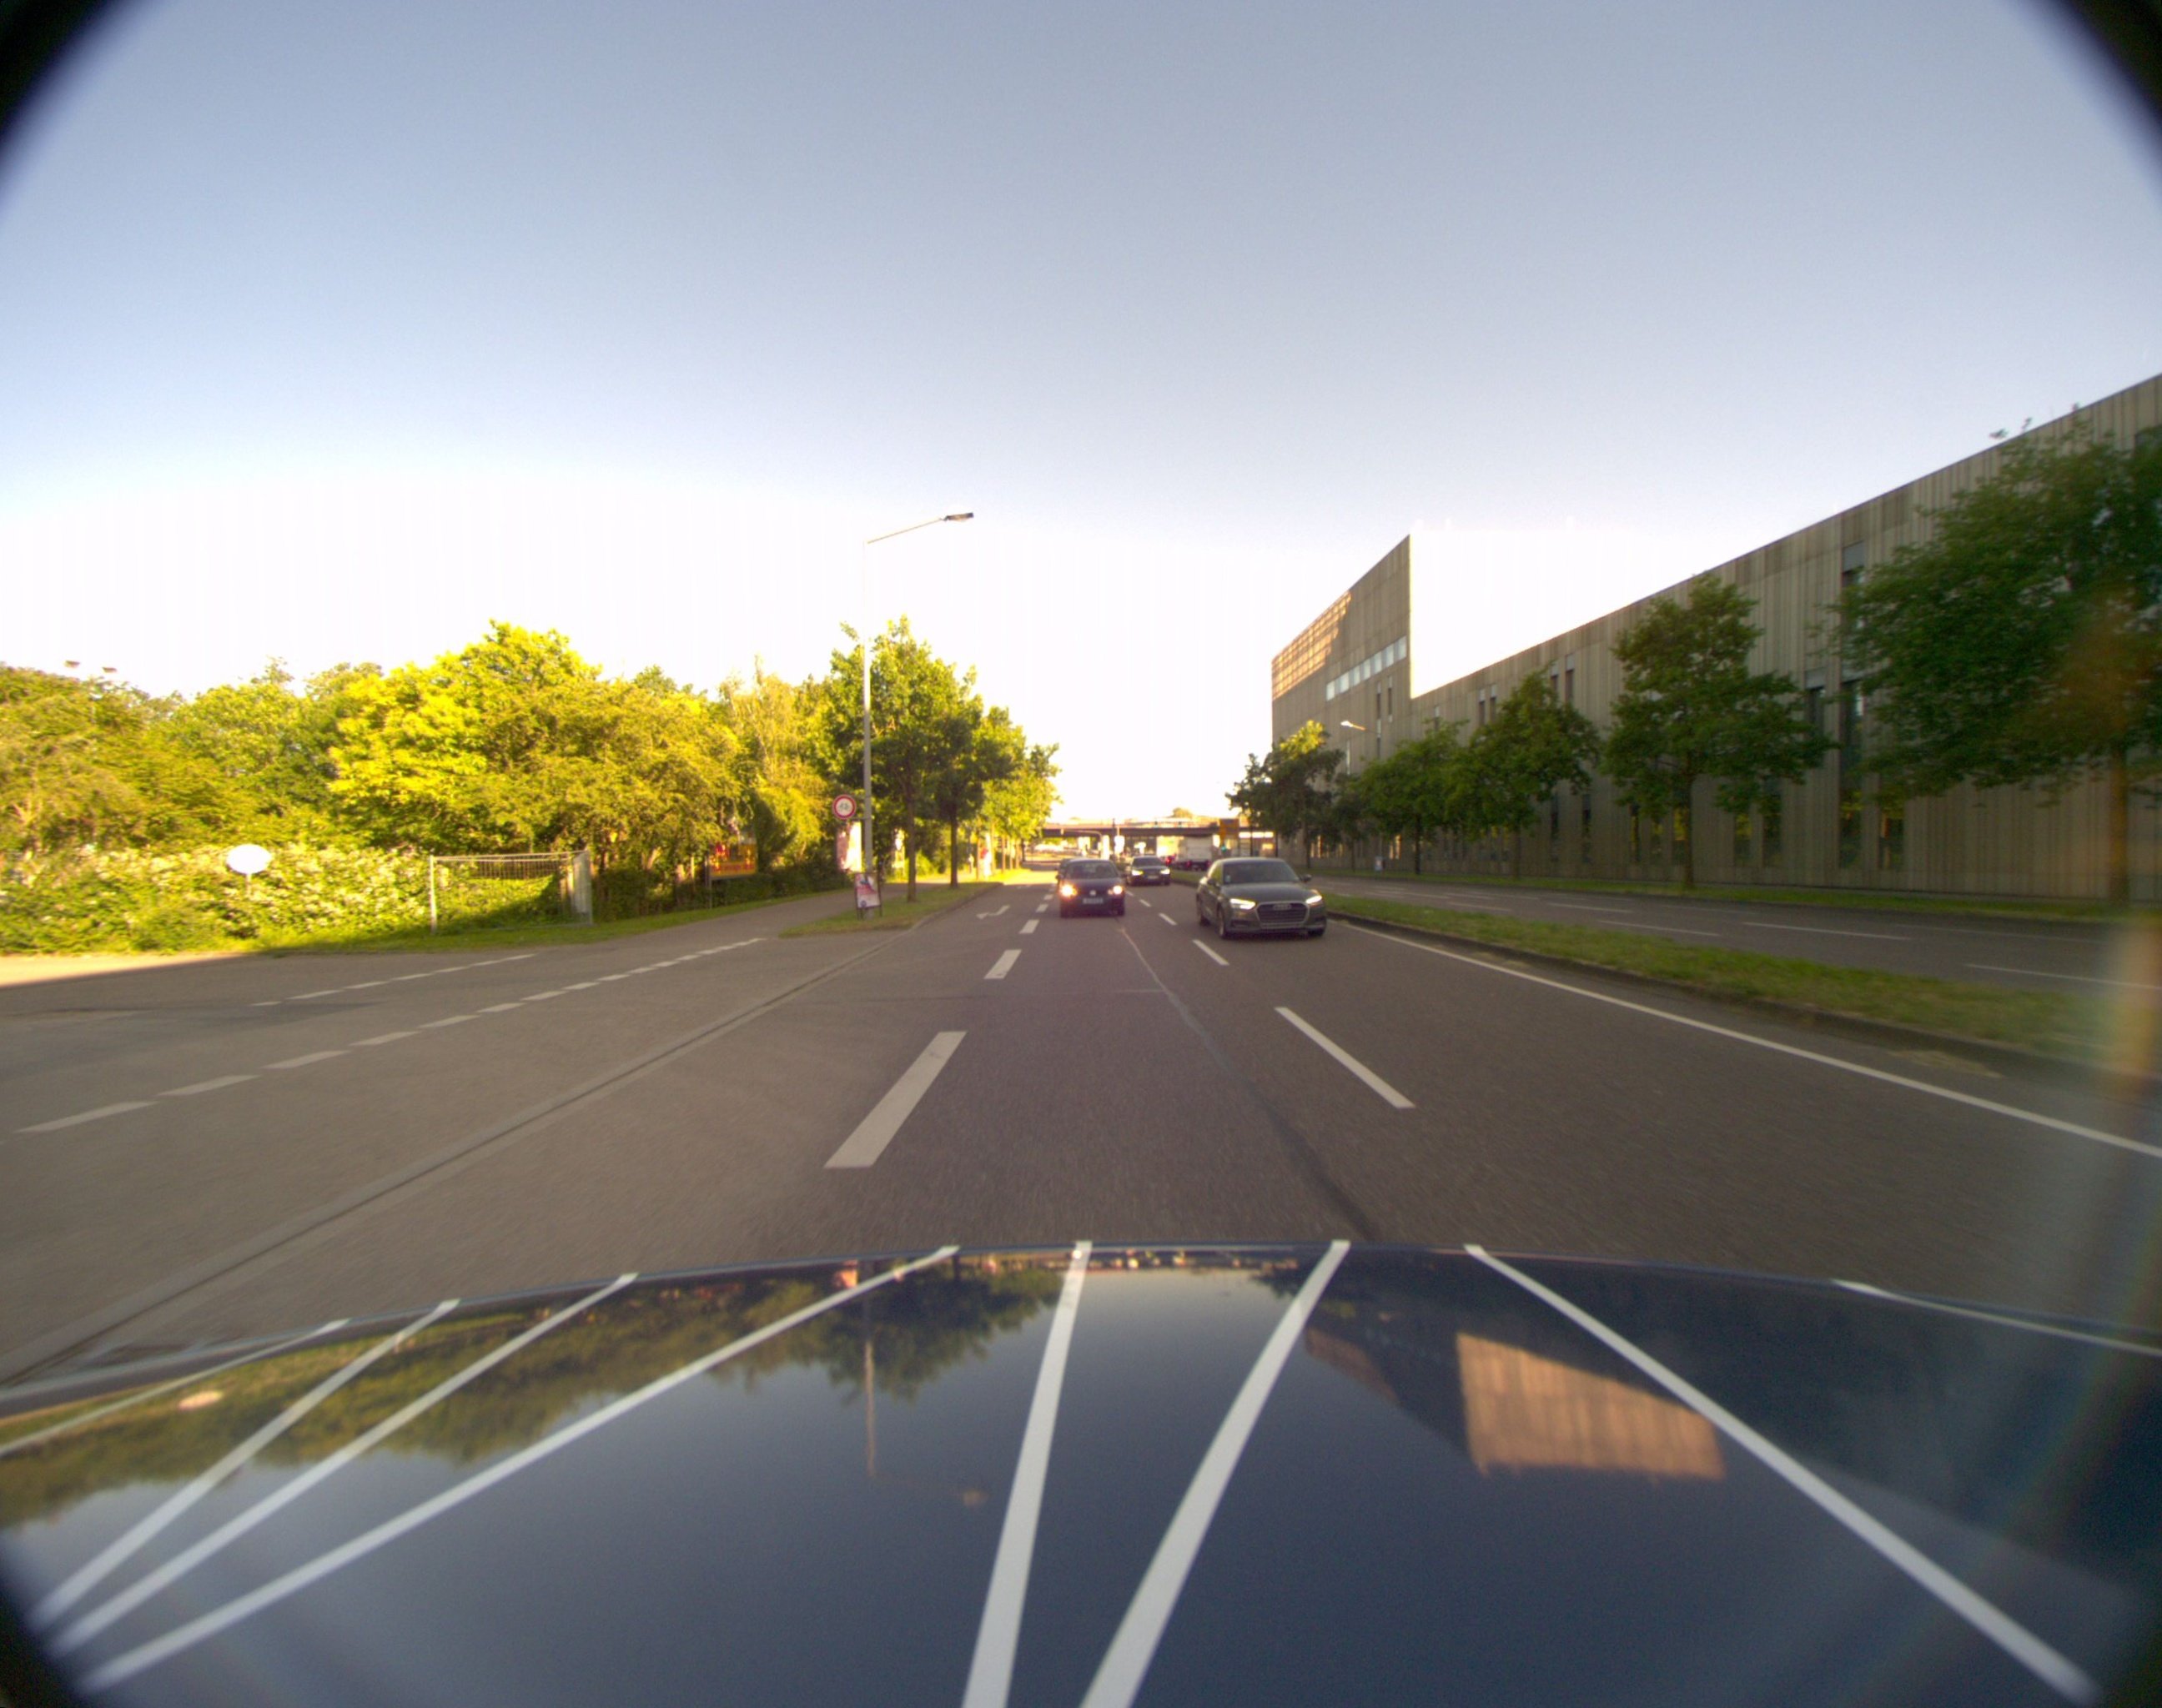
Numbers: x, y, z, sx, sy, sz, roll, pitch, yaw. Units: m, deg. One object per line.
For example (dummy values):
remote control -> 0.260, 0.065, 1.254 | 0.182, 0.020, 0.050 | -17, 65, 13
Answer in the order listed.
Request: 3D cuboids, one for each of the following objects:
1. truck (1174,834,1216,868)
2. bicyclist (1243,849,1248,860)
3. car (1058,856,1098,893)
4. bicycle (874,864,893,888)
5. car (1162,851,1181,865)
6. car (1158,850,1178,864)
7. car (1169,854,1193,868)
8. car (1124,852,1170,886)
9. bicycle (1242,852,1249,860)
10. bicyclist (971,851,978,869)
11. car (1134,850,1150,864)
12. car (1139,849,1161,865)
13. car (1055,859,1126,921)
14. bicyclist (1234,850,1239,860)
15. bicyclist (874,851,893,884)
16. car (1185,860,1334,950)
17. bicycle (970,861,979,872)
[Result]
truck -> 10.475, -0.300, 70.372 | 2.693, 2.943, 7.113 | 1, 0, -1
bicyclist -> 24.074, 0.086, 111.302 | 0.508, 1.498, 0.644 | 0, 1, -2
car -> -0.182, 0.873, 34.057 | 1.702, 1.478, 3.945 | -1, 0, -2
bicycle -> -9.453, 1.039, 36.467 | 0.517, 1.066, 1.935 | -1, 1, -4
car -> 10.092, 0.436, 84.706 | 1.624, 1.461, 3.639 | 1, 0, -1
car -> 10.315, 0.333, 90.102 | 1.846, 1.646, 3.999 | 1, 1, -1
car -> 10.373, 0.736, 79.073 | 1.840, 1.415, 3.999 | 1, 0, -1
car -> 3.165, 0.678, 37.083 | 1.702, 1.529, 3.945 | -2, 1, -2
bicycle -> 24.076, 0.275, 111.391 | 0.513, 1.262, 2.099 | 0, 0, -2
bicyclist -> -9.430, 0.545, 67.354 | 0.566, 1.600, 0.865 | -1, 1, -2
car -> 7.216, 0.339, 90.586 | 1.606, 1.571, 3.212 | 1, 1, -1
car -> 7.472, 0.322, 82.674 | 1.829, 1.672, 4.657 | 1, 0, -2
car -> 0.171, 0.914, 20.493 | 1.702, 1.474, 4.052 | -2, -1, -2
bicyclist -> 23.149, 0.112, 113.228 | 0.509, 1.434, 0.752 | 0, 1, -2
bicyclist -> -9.430, 0.631, 36.326 | 0.687, 1.513, 1.035 | -1, 1, -4
car -> 3.221, 0.846, 14.580 | 1.702, 1.396, 4.364 | -1, 0, -2
bicycle -> -9.433, 1.108, 67.394 | 0.573, 0.986, 2.046 | -1, 0, -2
